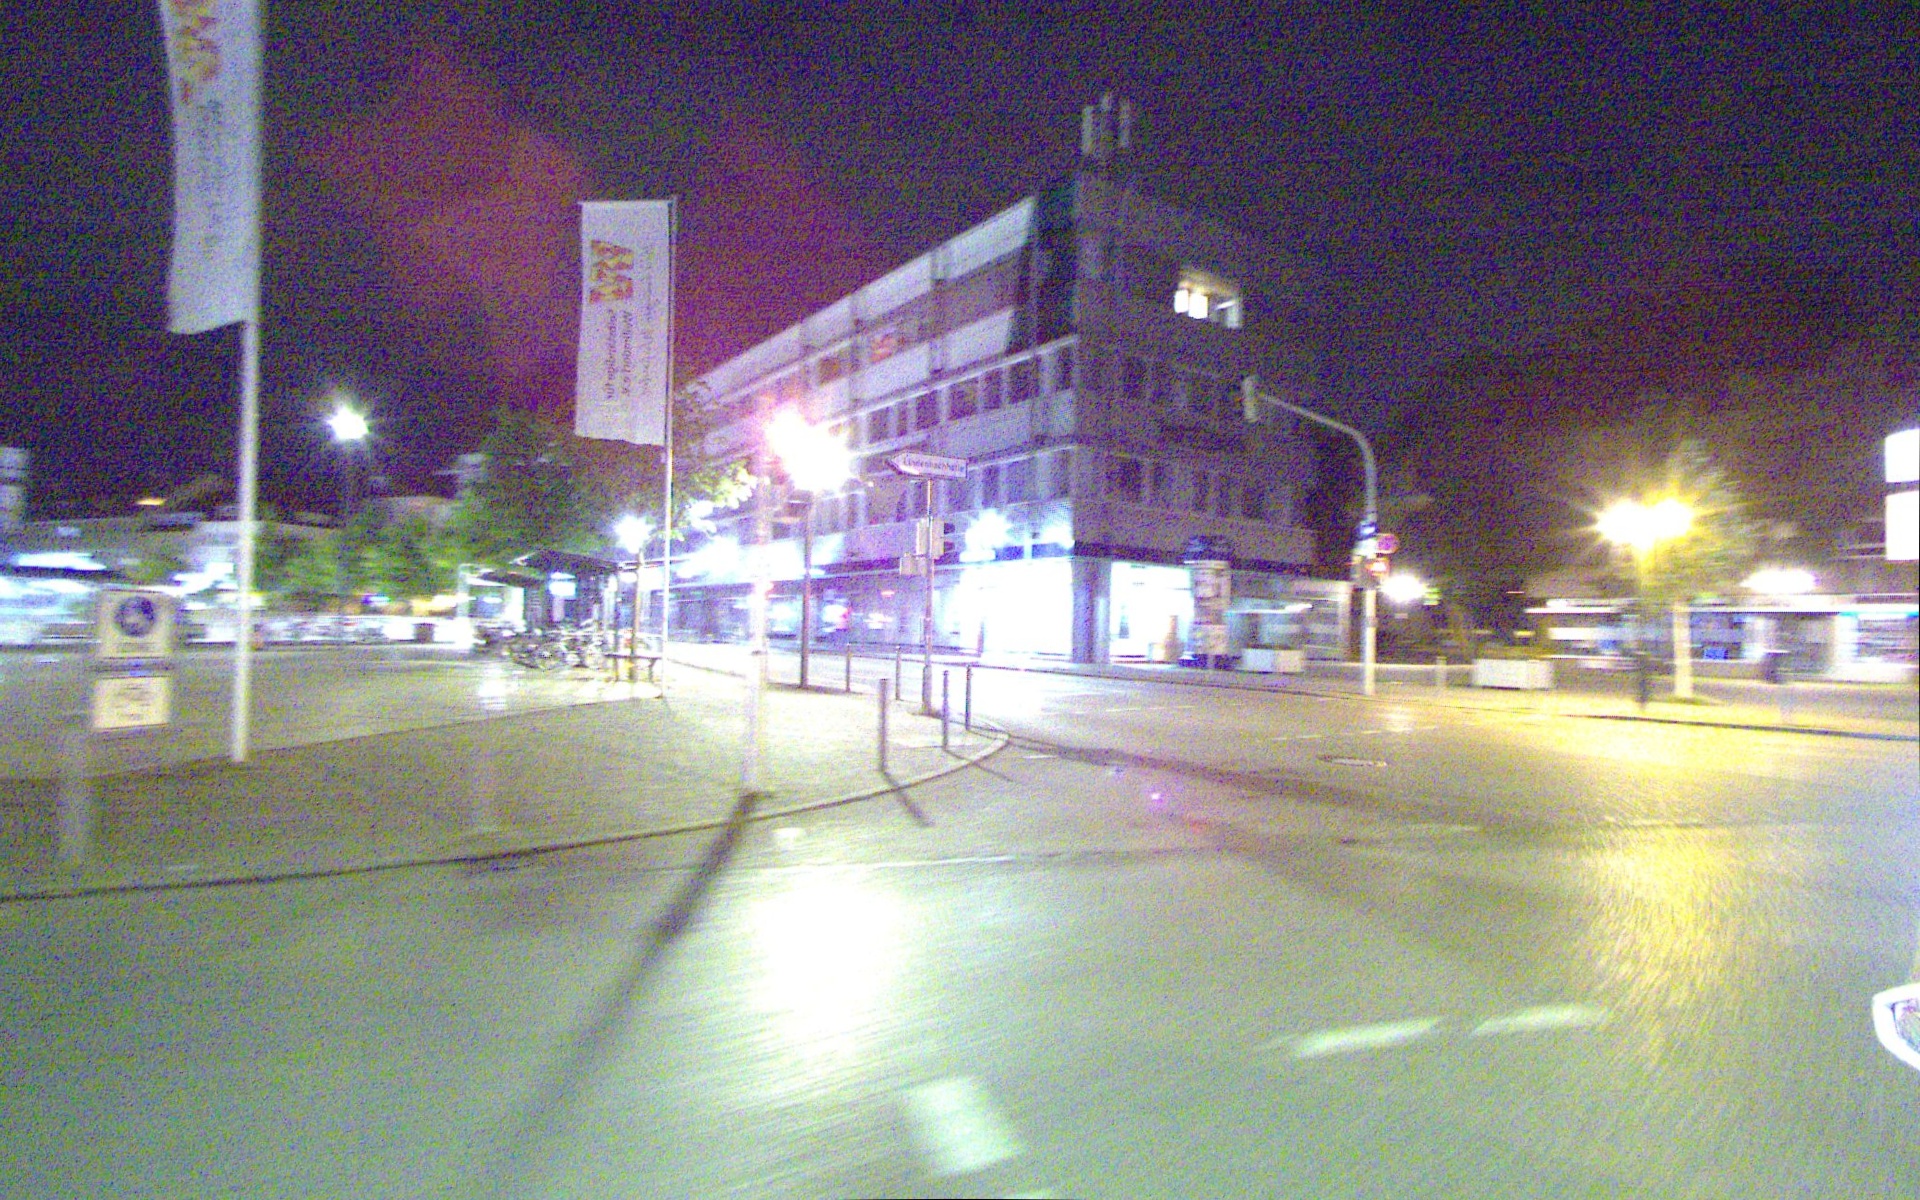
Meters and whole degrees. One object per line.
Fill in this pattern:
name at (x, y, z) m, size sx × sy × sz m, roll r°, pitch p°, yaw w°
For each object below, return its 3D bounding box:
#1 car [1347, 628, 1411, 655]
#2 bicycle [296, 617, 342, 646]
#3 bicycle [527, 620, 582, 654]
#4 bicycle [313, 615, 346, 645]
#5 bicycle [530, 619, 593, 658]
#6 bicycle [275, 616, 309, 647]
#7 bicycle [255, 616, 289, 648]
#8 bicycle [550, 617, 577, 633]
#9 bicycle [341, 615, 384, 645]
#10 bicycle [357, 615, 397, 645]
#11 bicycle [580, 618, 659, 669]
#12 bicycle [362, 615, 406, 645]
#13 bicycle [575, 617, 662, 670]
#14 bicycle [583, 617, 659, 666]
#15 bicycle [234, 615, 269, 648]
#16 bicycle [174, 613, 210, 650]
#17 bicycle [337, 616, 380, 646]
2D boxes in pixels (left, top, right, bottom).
car at (24.759, 2.416, 59.311) m, size 3.967 × 1.471 × 1.902 m, roll 1°, pitch 0°, yaw -40°
bicycle at (-25.445, 1.255, 39.850) m, size 1.713 × 1.084 × 0.609 m, roll 1°, pitch 0°, yaw 20°
bicycle at (-13.626, 1.253, 33.746) m, size 1.605 × 1.120 × 0.664 m, roll 2°, pitch -2°, yaw -35°
bicycle at (-25.668, 1.215, 40.914) m, size 1.720 × 1.181 × 0.606 m, roll 1°, pitch 0°, yaw 39°
bicycle at (-12.663, 1.224, 31.923) m, size 1.757 × 1.179 × 0.664 m, roll 2°, pitch -1°, yaw -35°
bicycle at (-25.951, 1.194, 39.014) m, size 1.720 × 1.140 × 0.606 m, roll 1°, pitch 0°, yaw 39°
bicycle at (-26.091, 1.198, 38.084) m, size 1.720 × 1.115 × 0.606 m, roll 1°, pitch 0°, yaw 39°
bicycle at (-28.235, 1.764, 71.514) m, size 0.644 × 1.076 × 1.751 m, roll 1°, pitch -1°, yaw 31°
bicycle at (-24.675, 1.239, 41.476) m, size 1.714 × 1.181 × 0.608 m, roll 1°, pitch 0°, yaw 24°
bicycle at (-24.295, 1.252, 41.842) m, size 1.714 × 1.170 × 0.544 m, roll 1°, pitch 0°, yaw 24°
bicycle at (-8.590, 1.099, 25.358) m, size 1.720 × 1.172 × 0.781 m, roll 5°, pitch -3°, yaw -29°
bicycle at (-24.486, 1.270, 42.698) m, size 1.714 × 1.177 × 0.761 m, roll 1°, pitch 0°, yaw 24°
bicycle at (-8.189, 1.044, 24.100) m, size 1.818 × 1.172 × 0.781 m, roll 5°, pitch -3°, yaw -29°
bicycle at (-8.916, 1.090, 26.424) m, size 1.720 × 1.181 × 0.781 m, roll 5°, pitch -2°, yaw -29°
bicycle at (-26.520, 1.173, 37.594) m, size 1.720 × 1.181 × 0.606 m, roll 1°, pitch 0°, yaw 39°
bicycle at (-27.440, 1.105, 35.889) m, size 1.720 × 1.235 × 0.606 m, roll 1°, pitch 0°, yaw 39°
bicycle at (-24.358, 1.247, 40.663) m, size 1.714 × 1.181 × 0.608 m, roll 1°, pitch 0°, yaw 24°
